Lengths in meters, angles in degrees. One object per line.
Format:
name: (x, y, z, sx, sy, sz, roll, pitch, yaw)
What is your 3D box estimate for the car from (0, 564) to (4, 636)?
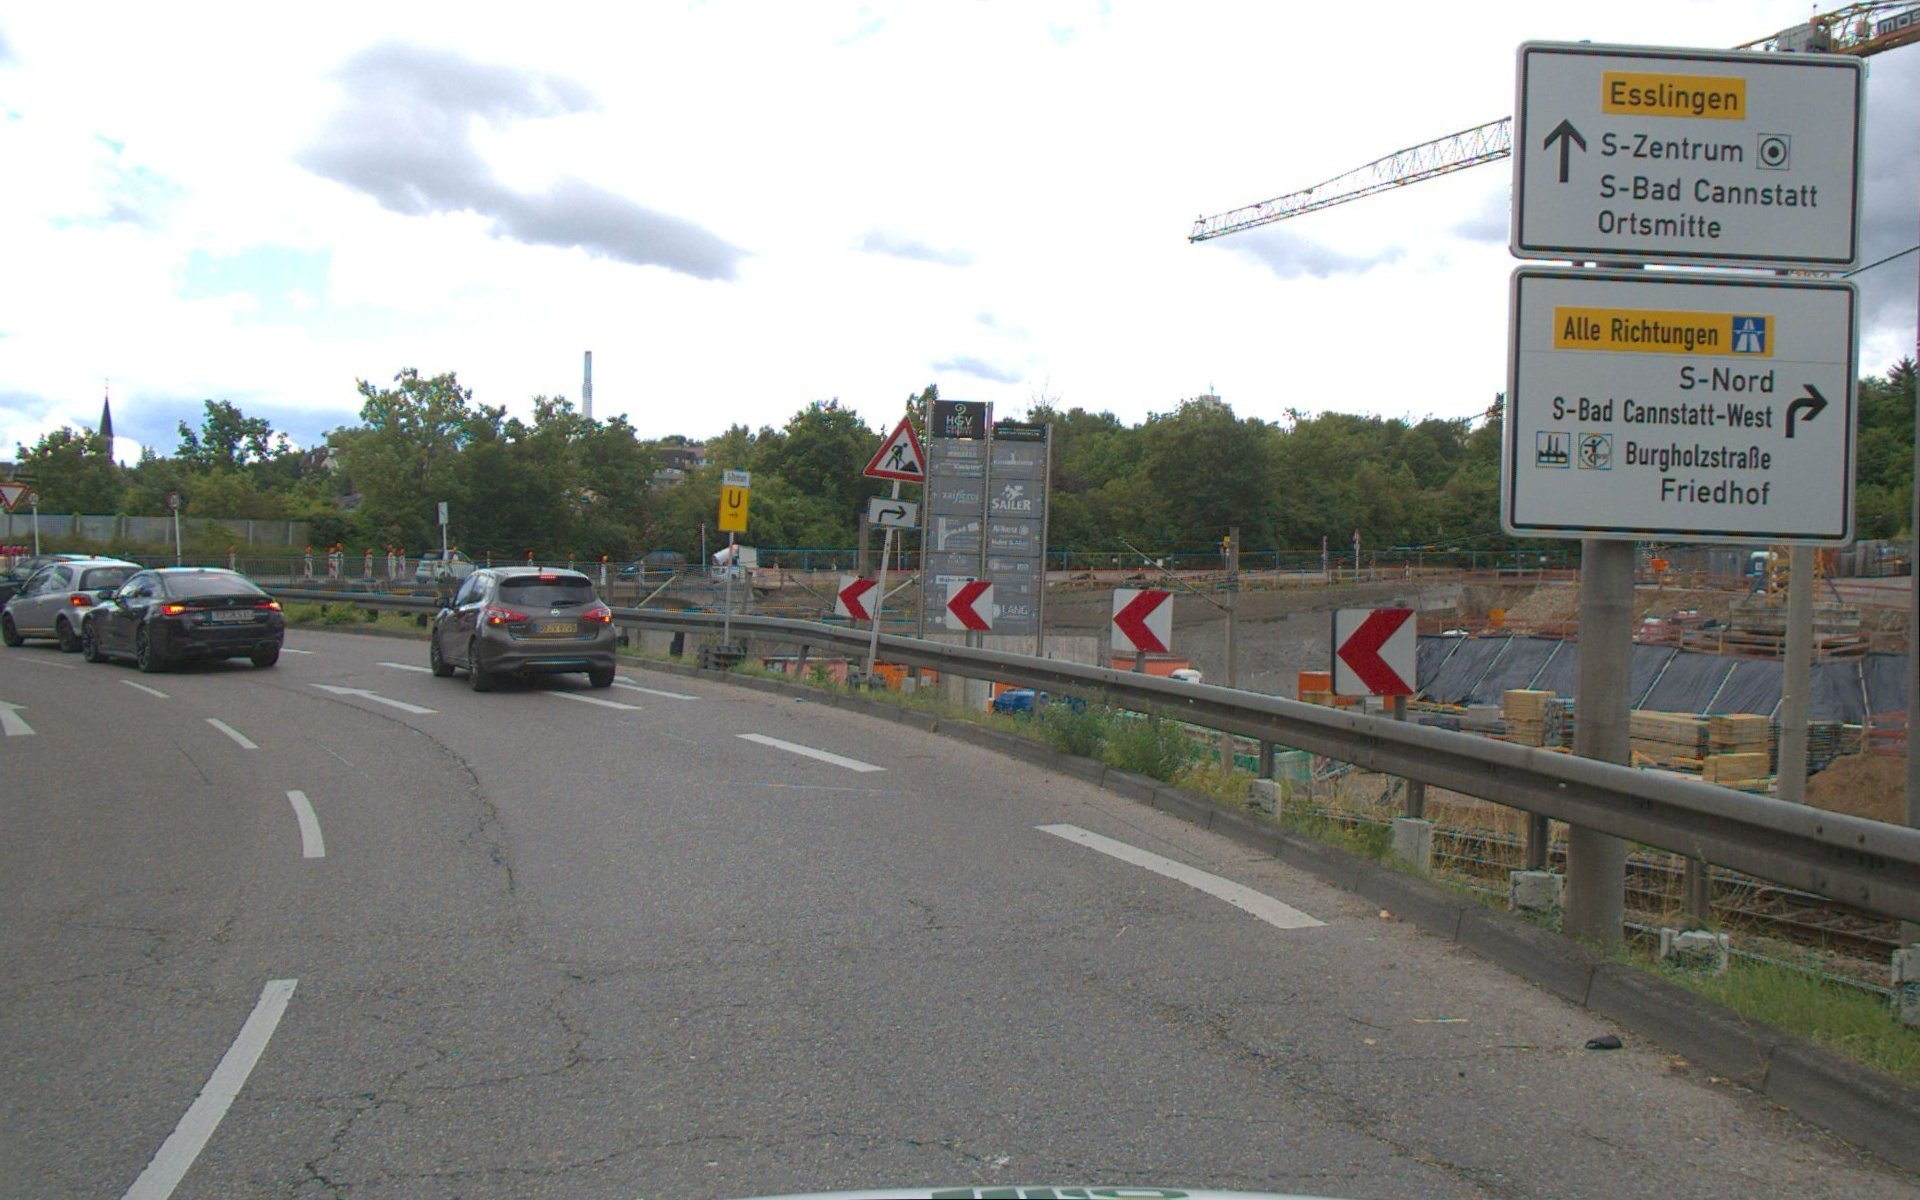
car: (-20.576, 0.023, 32.451, 4.000, 1.391, 1.564, 1, 4, 35)

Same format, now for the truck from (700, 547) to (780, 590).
truck: (-11.798, -1.669, 88.933, 1.961, 2.049, 3.984, 2, -1, 36)

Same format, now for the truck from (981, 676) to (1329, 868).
truck: (5.320, 4.720, 48.347, 2.817, 3.960, 11.465, 1, 2, -38)

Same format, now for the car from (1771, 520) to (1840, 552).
car: (58.079, -4.401, 113.650, 3.920, 2.049, 1.992, 0, 0, -15)

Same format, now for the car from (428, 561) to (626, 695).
car: (-5.852, 0.289, 22.052, 1.776, 1.579, 3.966, -1, 2, -27)

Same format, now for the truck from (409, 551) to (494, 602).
truck: (-22.669, -1.039, 73.762, 1.704, 2.049, 3.218, 2, -1, 32)

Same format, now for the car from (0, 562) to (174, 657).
car: (-15.648, 0.119, 29.396, 3.561, 1.495, 1.666, 2, 4, 40)

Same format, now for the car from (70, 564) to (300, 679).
car: (-11.992, 0.247, 25.411, 1.863, 1.502, 4.888, -2, 3, -42)
